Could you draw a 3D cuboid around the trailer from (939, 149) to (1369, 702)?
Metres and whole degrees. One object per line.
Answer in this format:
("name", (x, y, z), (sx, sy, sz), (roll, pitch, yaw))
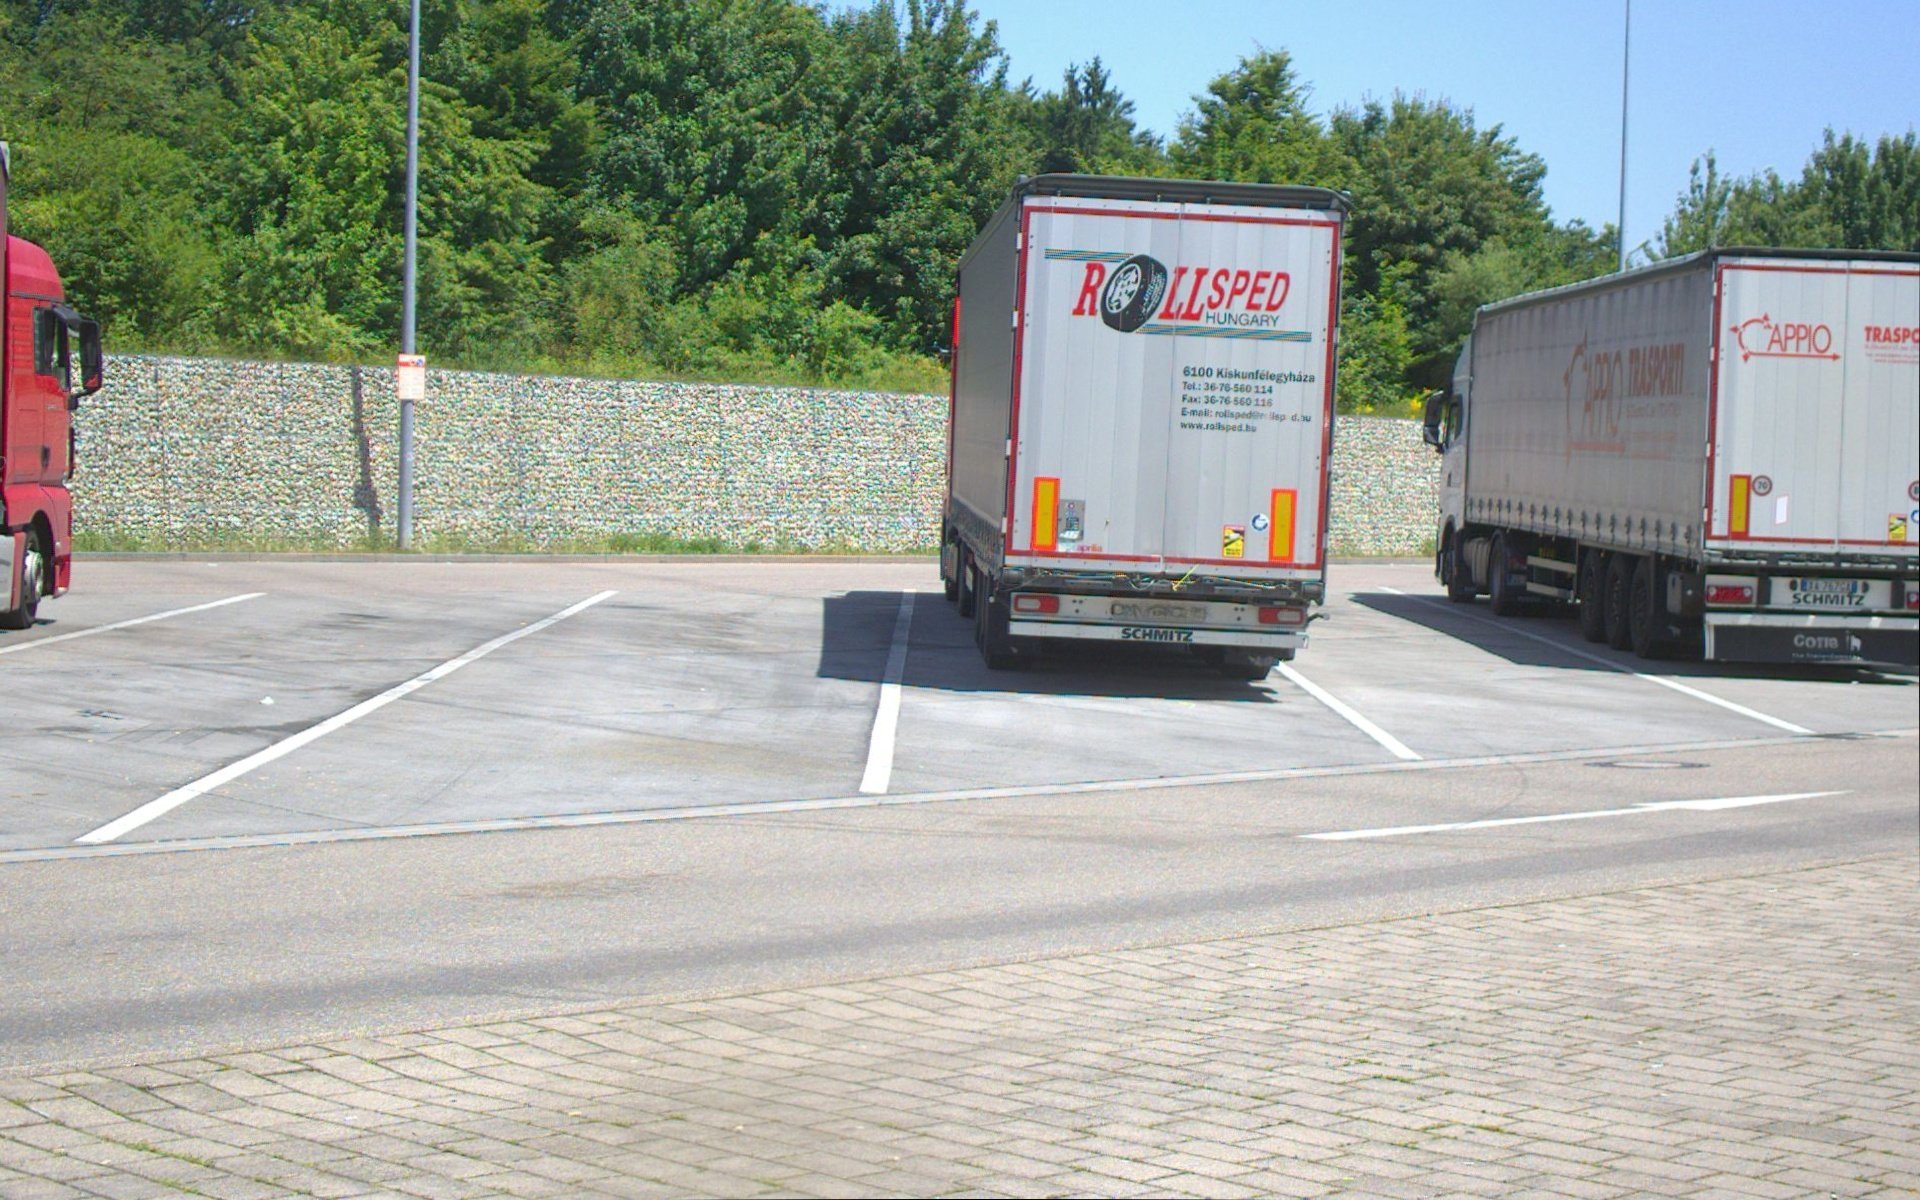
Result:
("trailer", (1.439, -1.641, 33.192), (2.906, 4.118, 13.725), (2, 3, -1))

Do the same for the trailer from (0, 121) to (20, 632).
("trailer", (-9.146, -1.508, 21.295), (2.906, 4.118, 13.725), (2, 3, -1))

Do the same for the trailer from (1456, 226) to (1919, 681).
("trailer", (8.155, -1.646, 38.682), (2.838, 4.118, 13.724), (2, 3, -1))

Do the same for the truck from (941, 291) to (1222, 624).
("truck", (1.289, -1.653, 39.805), (2.852, 3.472, 5.483), (2, 3, -1))

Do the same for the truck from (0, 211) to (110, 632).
("truck", (-9.237, -1.529, 28.734), (2.852, 3.416, 5.483), (2, 3, -1))

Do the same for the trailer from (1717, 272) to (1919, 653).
("trailer", (11.792, -1.547, 39.435), (2.838, 4.118, 13.724), (2, 3, -1))

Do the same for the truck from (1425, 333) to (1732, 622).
("truck", (8.062, -1.648, 45.495), (2.852, 3.472, 5.483), (2, 3, -1))
